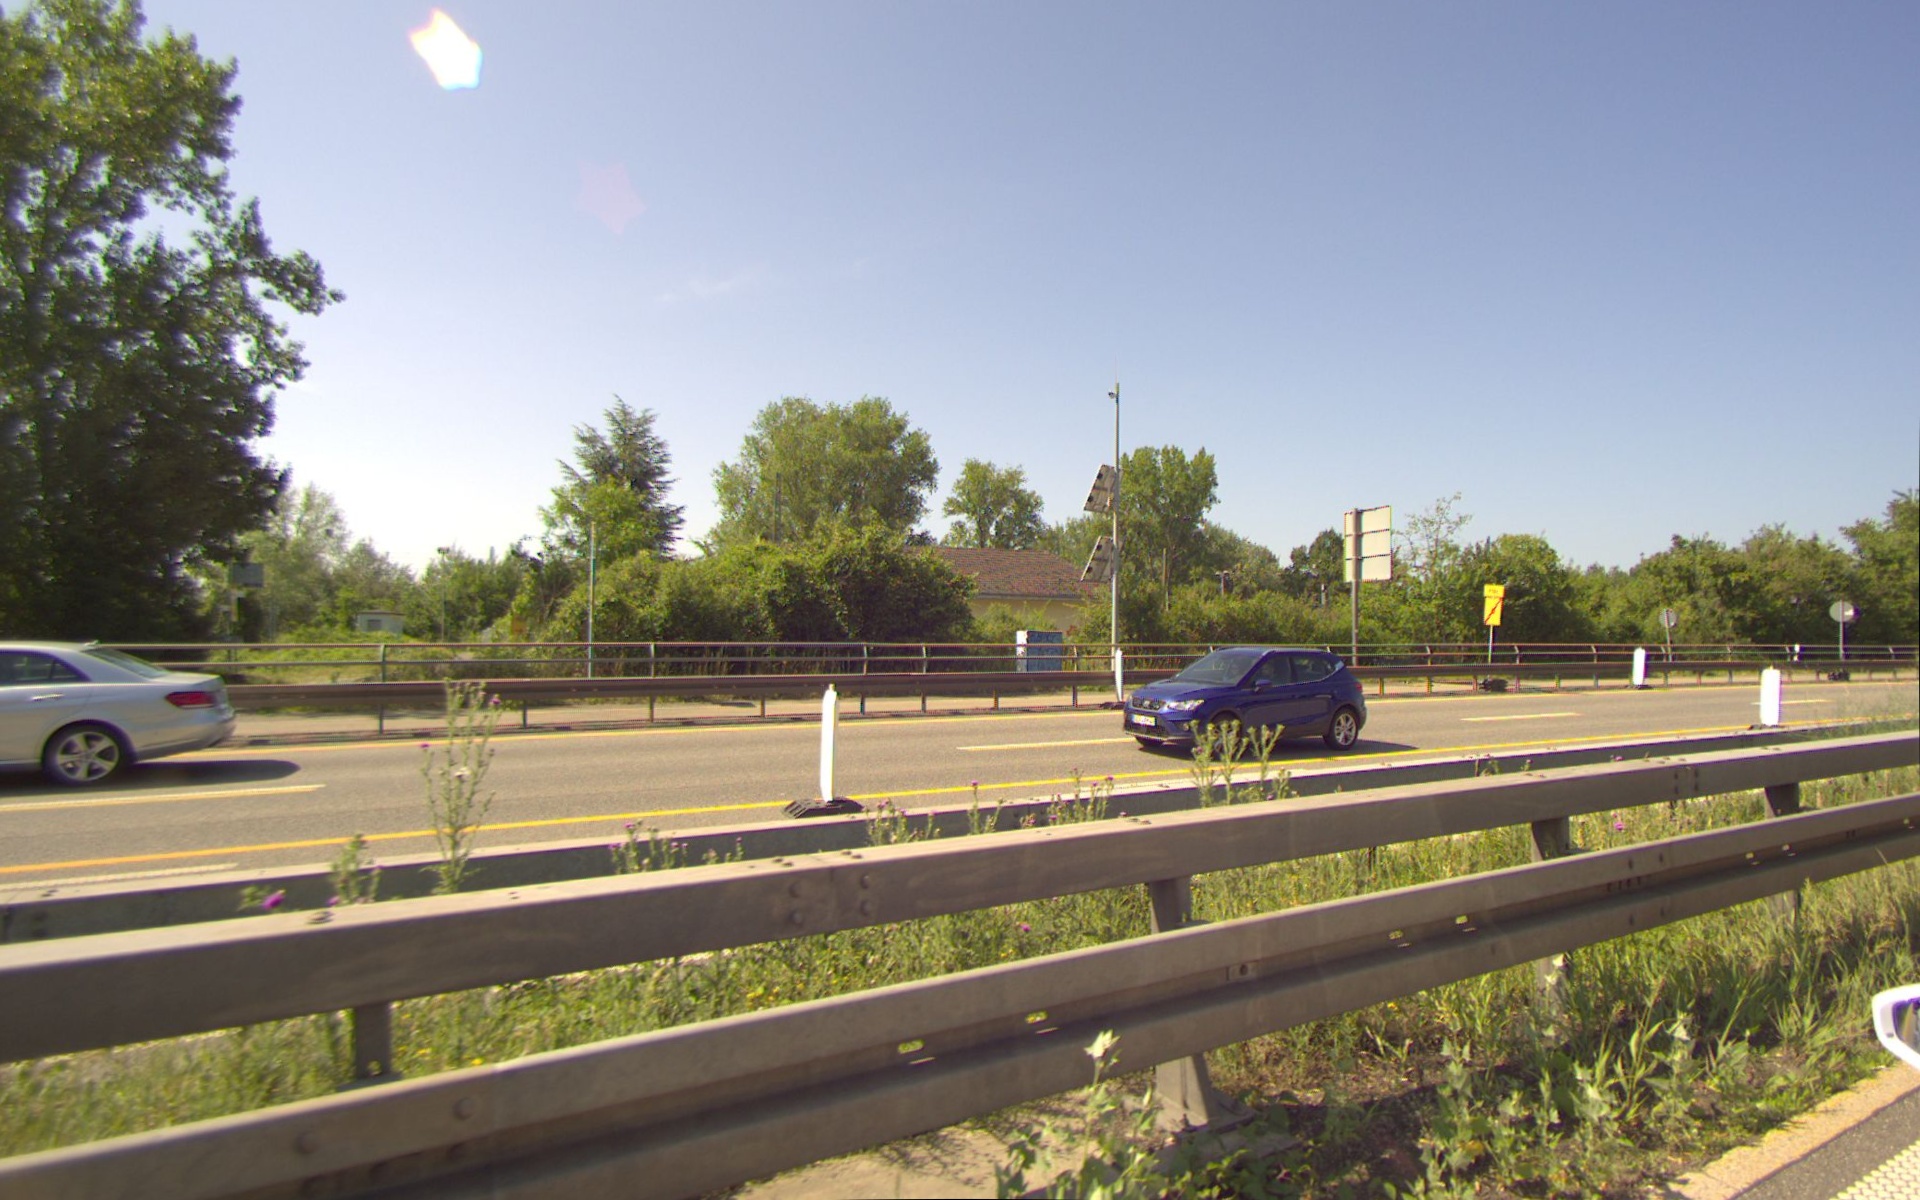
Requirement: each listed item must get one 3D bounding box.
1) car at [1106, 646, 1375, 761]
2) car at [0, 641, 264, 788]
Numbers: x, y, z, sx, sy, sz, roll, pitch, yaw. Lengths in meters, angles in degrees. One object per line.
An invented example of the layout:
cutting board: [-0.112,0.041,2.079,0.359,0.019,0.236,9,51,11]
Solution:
car: [4.332,1.492,15.406,3.953,1.518,1.730,1,-2,-30]
car: [-10.381,1.169,10.631,4.805,1.439,1.875,1,-2,-32]
